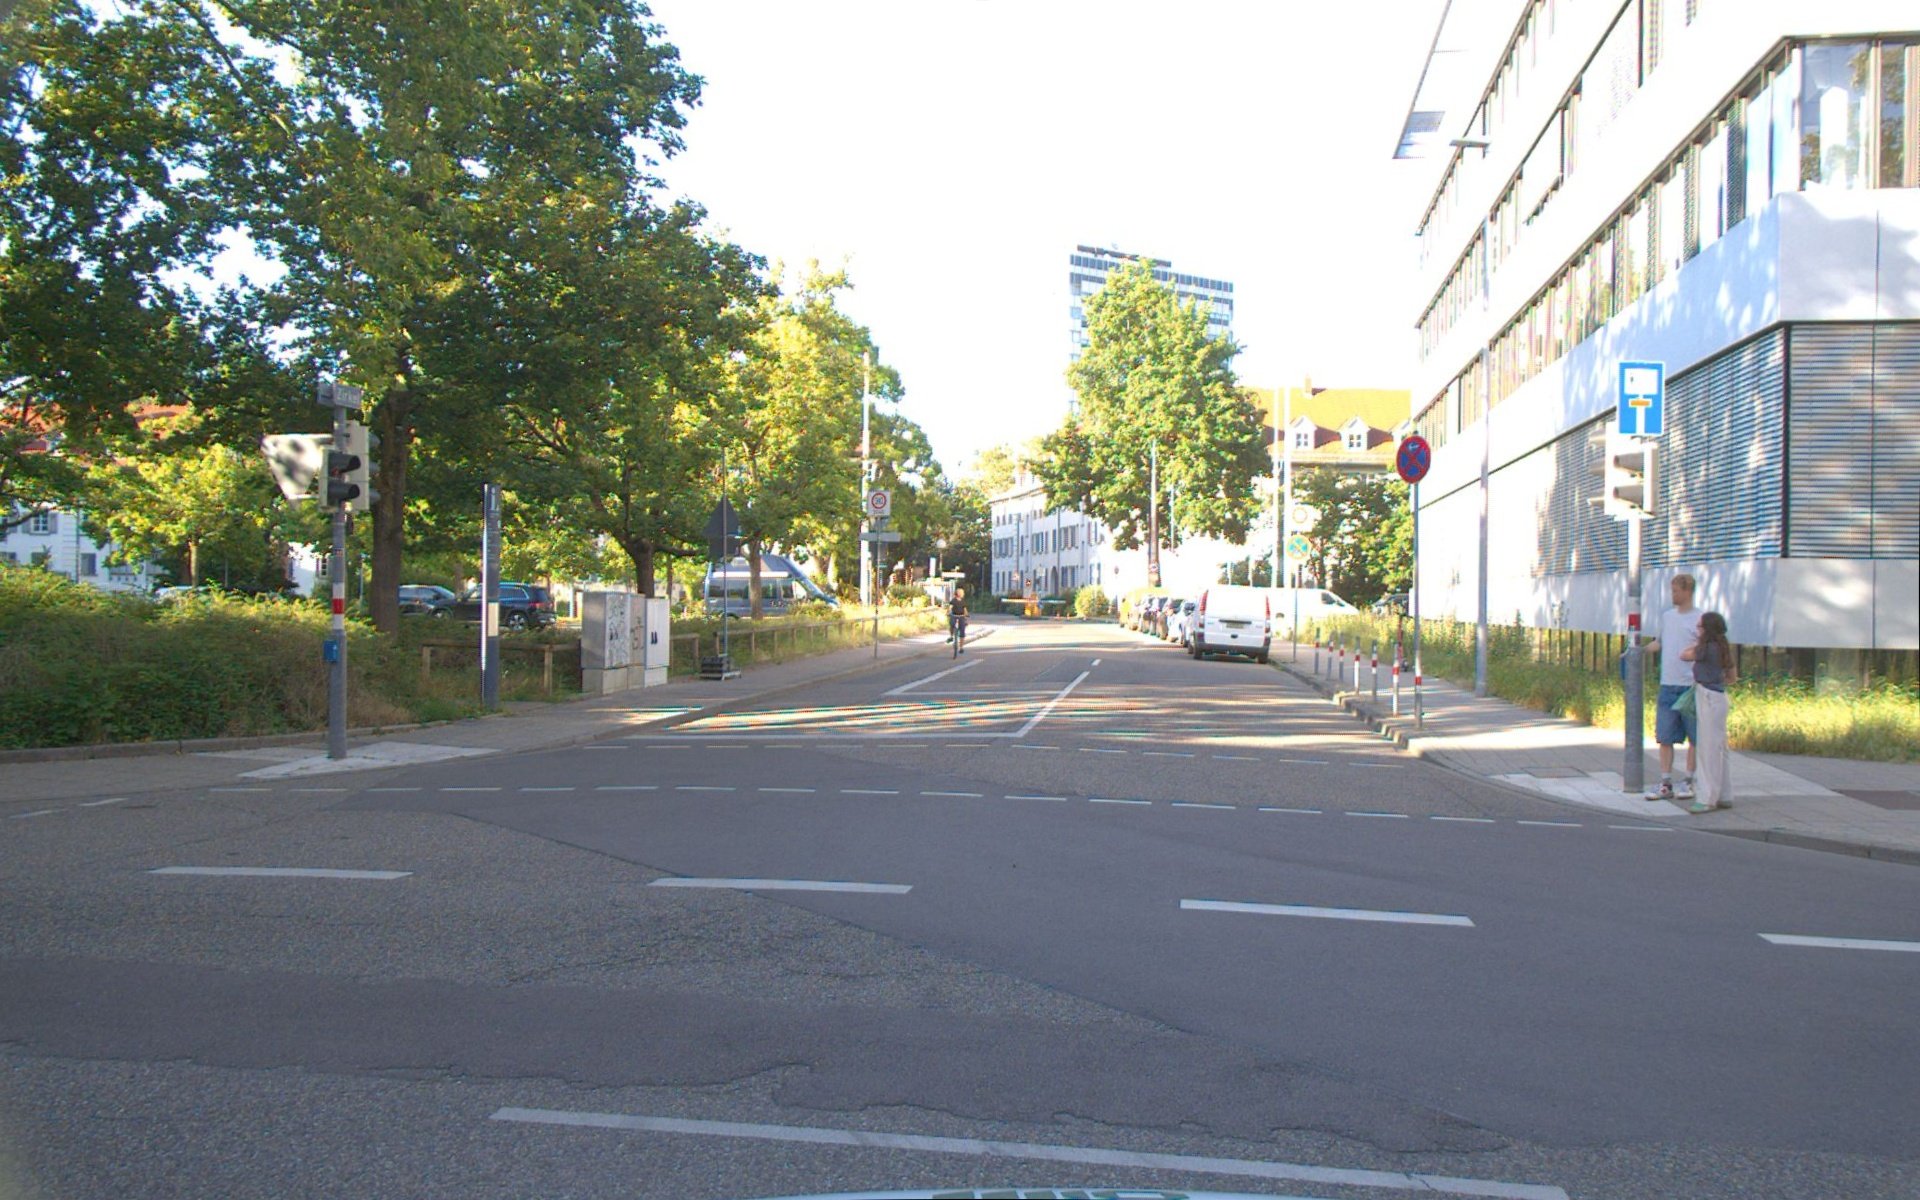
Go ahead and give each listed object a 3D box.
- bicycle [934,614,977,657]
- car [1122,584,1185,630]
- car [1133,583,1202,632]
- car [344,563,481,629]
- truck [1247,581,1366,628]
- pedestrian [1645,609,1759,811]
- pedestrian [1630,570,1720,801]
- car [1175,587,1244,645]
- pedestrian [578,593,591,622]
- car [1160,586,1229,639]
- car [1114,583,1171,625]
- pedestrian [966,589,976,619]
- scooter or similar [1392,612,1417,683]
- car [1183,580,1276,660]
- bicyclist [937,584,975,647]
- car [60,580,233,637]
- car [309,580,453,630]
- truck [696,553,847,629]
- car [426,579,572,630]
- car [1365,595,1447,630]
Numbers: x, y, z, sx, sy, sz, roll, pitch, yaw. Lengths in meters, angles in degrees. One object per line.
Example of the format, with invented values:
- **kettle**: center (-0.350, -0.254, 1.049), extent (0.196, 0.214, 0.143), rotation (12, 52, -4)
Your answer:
- **bicycle**: center (-0.095, 0.878, 41.617), extent (0.847, 1.027, 2.415), rotation (-2, 0, 5)
- **car**: center (7.925, 0.258, 68.092), extent (1.850, 1.684, 4.413), rotation (1, 1, -2)
- **car**: center (7.888, 0.263, 63.219), extent (1.850, 1.684, 4.413), rotation (1, 1, -2)
- **car**: center (-20.694, -0.135, 62.591), extent (4.458, 2.433, 2.076), rotation (0, 0, 7)
- **truck**: center (16.515, 0.209, 78.950), extent (5.231, 2.049, 1.999), rotation (1, 0, -3)
- **pedestrian**: center (5.995, 0.870, 13.391), extent (0.548, 1.567, 0.676), rotation (-2, 0, -2)
- **pedestrian**: center (6.058, 0.706, 14.006), extent (0.549, 1.883, 0.675), rotation (-2, 0, 32)
- **car**: center (7.523, 0.453, 50.187), extent (1.848, 1.582, 4.418), rotation (2, 1, 6)
- **pedestrian**: center (-17.527, 0.328, 77.218), extent (0.548, 1.347, 0.576), rotation (0, 0, -10)
- **car**: center (7.855, 0.387, 55.678), extent (1.849, 1.582, 4.417), rotation (1, 1, 3)
- **car**: center (8.082, 0.154, 73.512), extent (1.850, 1.684, 4.413), rotation (1, 1, -2)
- **pedestrian**: center (0.652, 0.219, 95.587), extent (0.534, 1.706, 0.476), rotation (0, 0, -1)
- **scooter or similar**: center (9.313, 0.982, 34.686), extent (0.323, 1.448, 1.336), rotation (3, 0, 10)
- **car**: center (6.778, 0.448, 42.014), extent (2.041, 1.826, 4.418), rotation (2, 1, 6)
- **bicyclist**: center (-0.097, 0.379, 41.636), extent (0.847, 1.542, 1.020), rotation (-2, -1, 5)
- **car**: center (-25.597, 0.279, 52.121), extent (4.458, 1.760, 2.076), rotation (0, 0, 7)
- **car**: center (-21.048, 0.189, 60.202), extent (4.458, 1.760, 2.076), rotation (0, 0, 7)
- **truck**: center (-6.416, -0.315, 56.482), extent (4.726, 2.441, 2.089), rotation (1, 1, 6)
- **car**: center (-16.127, 0.169, 57.967), extent (4.458, 1.760, 2.076), rotation (0, 0, 7)
- **car**: center (21.242, 0.582, 78.822), extent (3.484, 1.573, 1.557), rotation (1, 0, -3)
